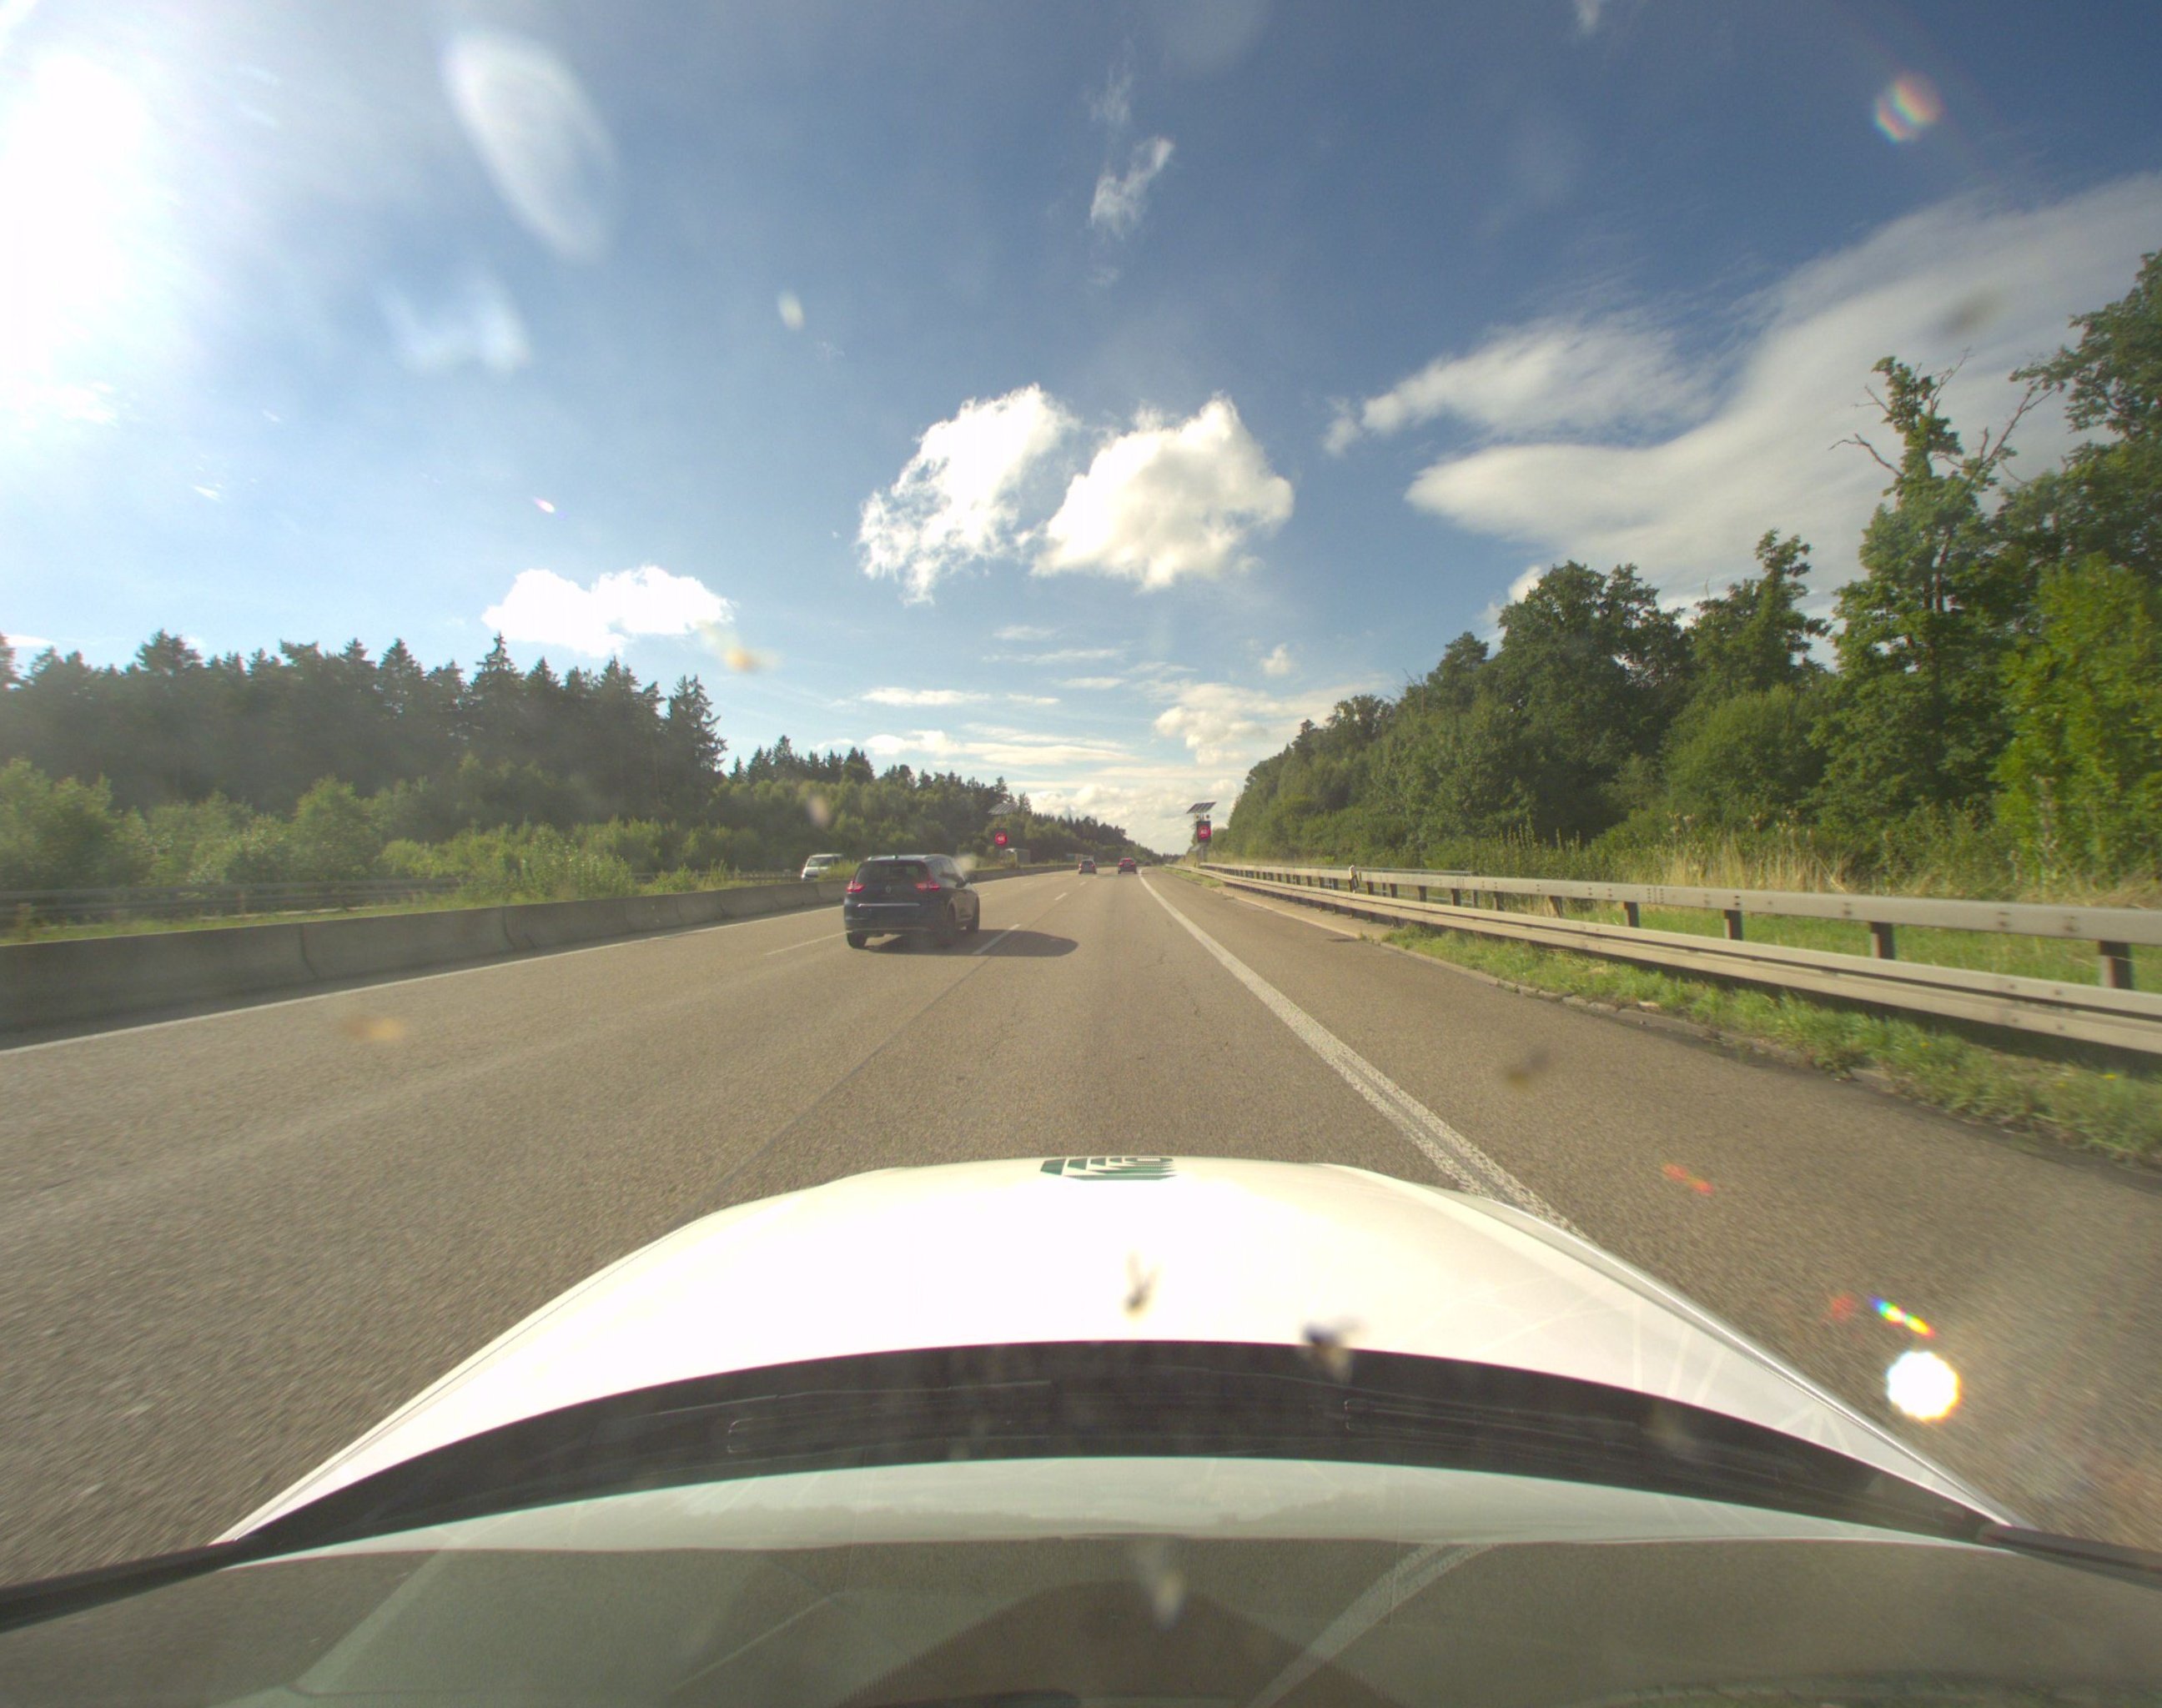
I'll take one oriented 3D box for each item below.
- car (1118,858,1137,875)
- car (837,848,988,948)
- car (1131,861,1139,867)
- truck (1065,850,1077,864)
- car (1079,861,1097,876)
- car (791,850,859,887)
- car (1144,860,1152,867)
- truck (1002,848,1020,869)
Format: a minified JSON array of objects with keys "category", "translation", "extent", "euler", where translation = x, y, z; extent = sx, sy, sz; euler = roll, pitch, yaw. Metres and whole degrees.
[{"category":"car","translation":[4.867,1.244,84.863],"extent":[1.866,1.675,3.893],"euler":[-1,0,3]},{"category":"car","translation":[-3.164,0.769,16.296],"extent":[1.986,1.707,4.530],"euler":[-1,0,1]},{"category":"car","translation":[14.677,2.616,220.483],"extent":[1.862,1.497,3.891],"euler":[-1,0,10]},{"category":"truck","translation":[-2.975,0.856,236.449],"extent":[2.636,4.086,6.427],"euler":[-1,-1,6]},{"category":"car","translation":[0.769,1.513,86.699],"extent":[1.866,1.497,3.881],"euler":[-1,0,2]},{"category":"car","translation":[-17.196,0.951,55.207],"extent":[2.301,2.318,6.196],"euler":[2,0,3]},{"category":"car","translation":[17.505,2.430,212.910],"extent":[1.804,1.706,4.004],"euler":[-1,0,3]},{"category":"truck","translation":[-12.930,0.867,150.773],"extent":[2.268,3.729,5.538],"euler":[-1,-1,5]}]
